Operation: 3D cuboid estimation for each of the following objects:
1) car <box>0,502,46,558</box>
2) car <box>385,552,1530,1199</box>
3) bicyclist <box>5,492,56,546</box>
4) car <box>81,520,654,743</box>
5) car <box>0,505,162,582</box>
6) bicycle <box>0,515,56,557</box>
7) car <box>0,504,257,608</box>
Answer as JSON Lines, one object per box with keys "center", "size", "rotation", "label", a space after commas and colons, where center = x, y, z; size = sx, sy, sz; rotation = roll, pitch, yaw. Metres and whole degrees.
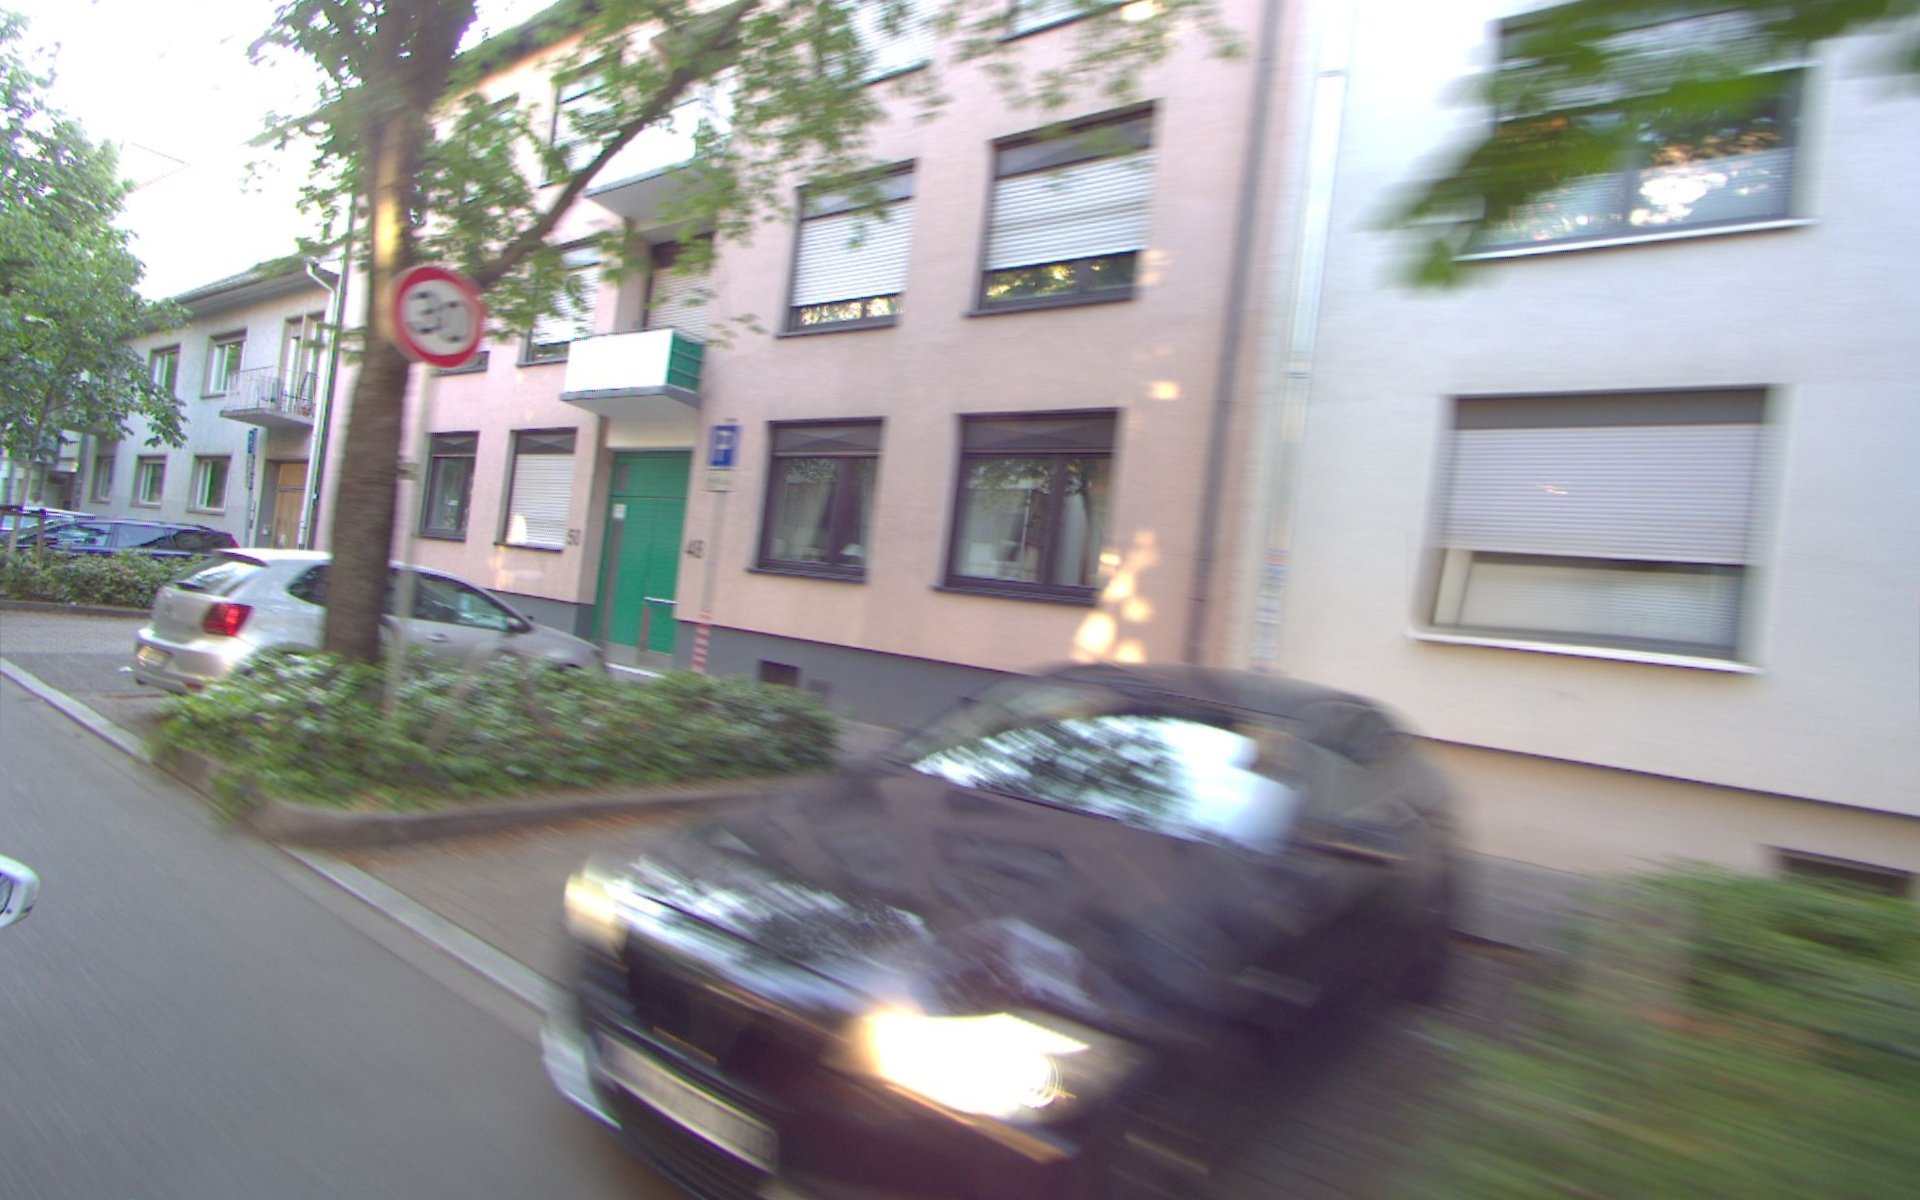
{"center": [-27.630, -2.075, 26.938], "size": [1.983, 1.445, 4.449], "rotation": [6, 1, 42], "label": "car"}
{"center": [0.751, 0.954, 4.070], "size": [1.958, 1.514, 4.876], "rotation": [6, -2, 37], "label": "car"}
{"center": [-31.678, -2.759, 34.287], "size": [1.118, 1.623, 0.971], "rotation": [7, 0, 35], "label": "bicyclist"}
{"center": [-5.129, 0.386, 9.282], "size": [1.770, 1.508, 4.086], "rotation": [6, -2, 34], "label": "car"}
{"center": [-20.560, -1.317, 21.886], "size": [1.971, 1.406, 4.671], "rotation": [6, 1, 39], "label": "car"}
{"center": [-31.587, -2.171, 33.971], "size": [3.345, 1.178, 0.621], "rotation": [6, -1, 32], "label": "bicycle"}
{"center": [-15.665, -0.828, 17.833], "size": [2.013, 1.466, 4.833], "rotation": [6, 0, 40], "label": "car"}
